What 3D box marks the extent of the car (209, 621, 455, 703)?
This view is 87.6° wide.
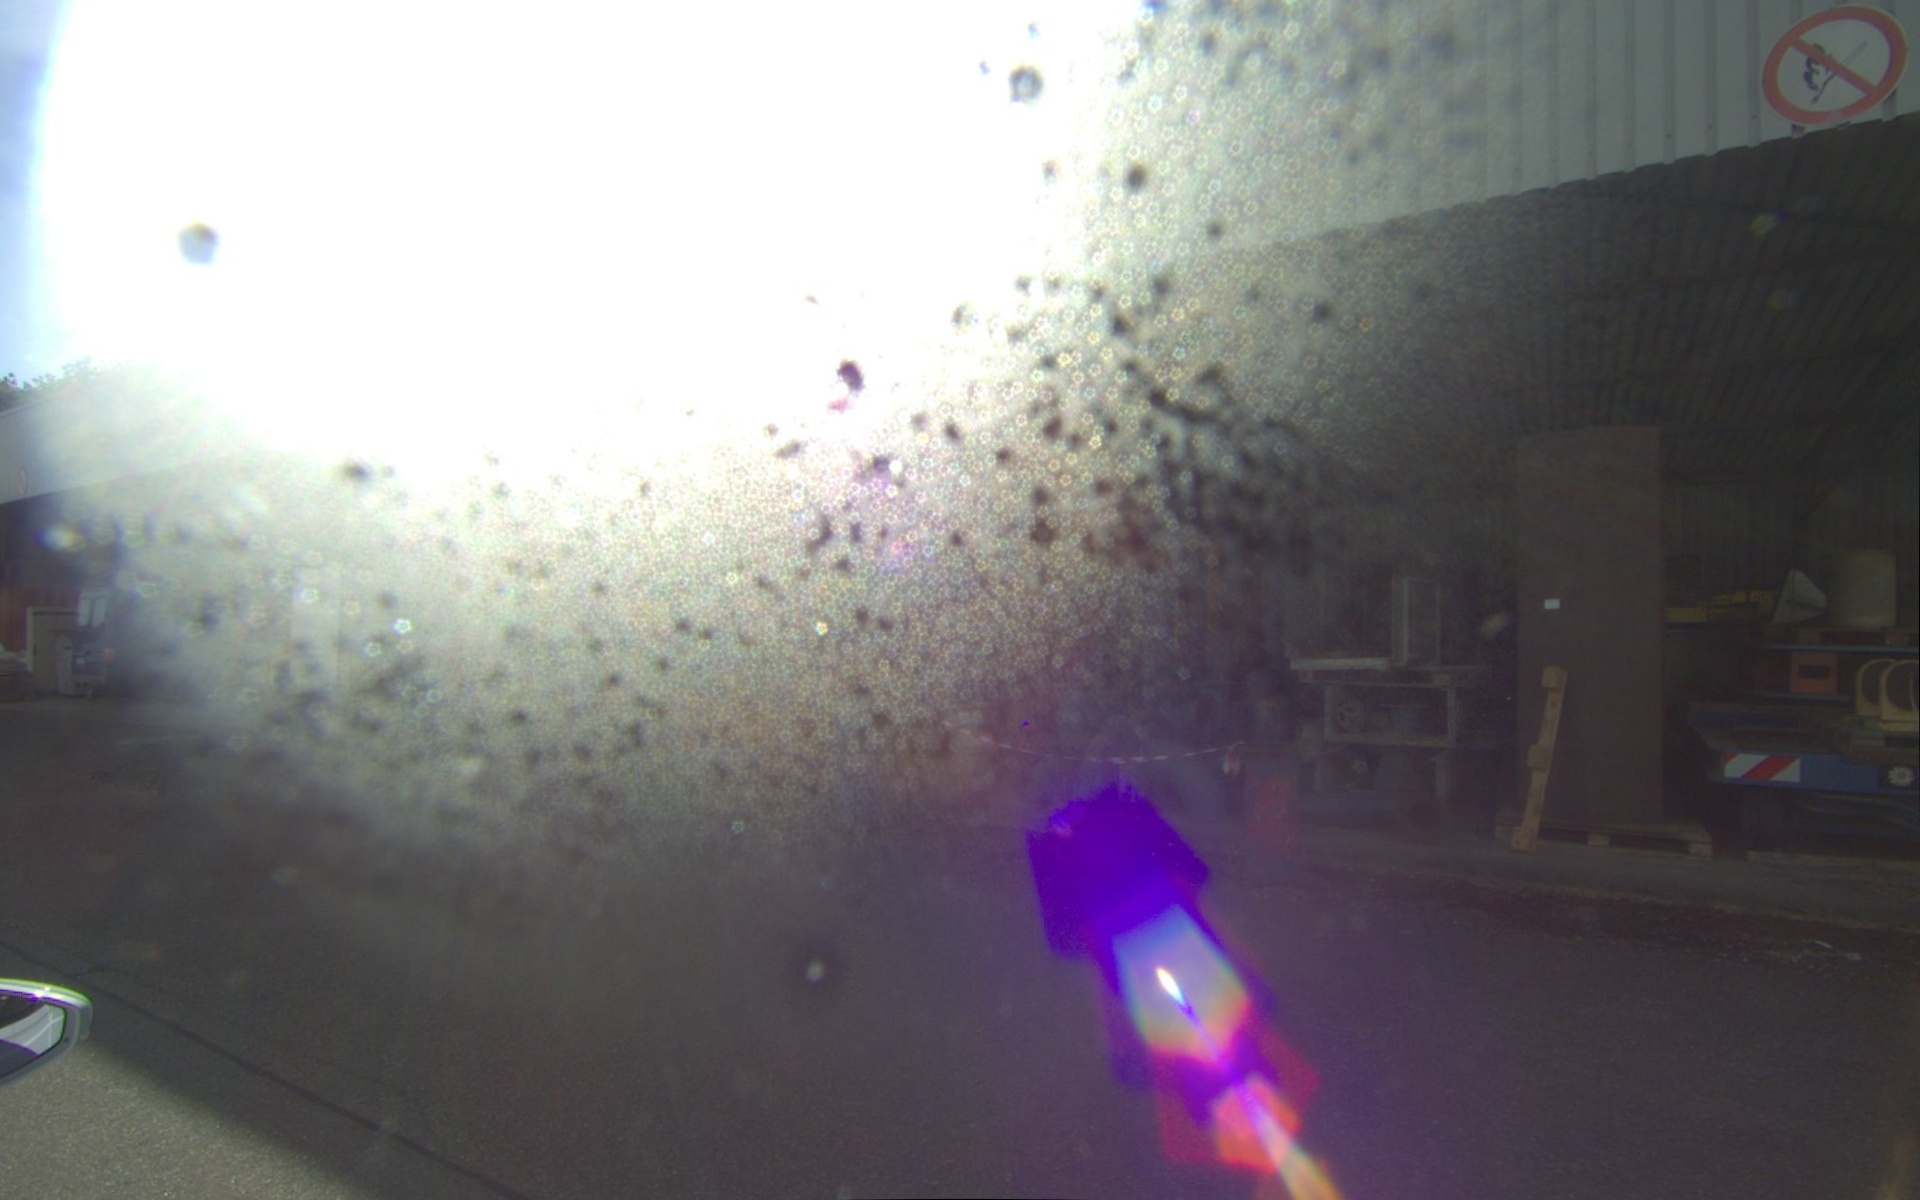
[{"bbox_3d":[-12.905,1.251,20.834,1.812,1.533,3.962,-1,-3,29],"label":"car"}]

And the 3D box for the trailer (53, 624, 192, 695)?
[{"bbox_3d":[-18.656,1.274,22.332,1.715,1.485,2.032,-1,-1,36],"label":"trailer"}]

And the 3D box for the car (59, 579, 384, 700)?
[{"bbox_3d":[-15.888,0.873,21.920,2.121,2.309,5.326,-1,-3,31],"label":"car"}]

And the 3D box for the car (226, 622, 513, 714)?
[{"bbox_3d":[-10.736,1.192,18.557,1.841,1.490,4.246,0,-2,29],"label":"car"}]

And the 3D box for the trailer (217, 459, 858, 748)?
[{"bbox_3d":[-5.947,0.164,16.843,2.761,3.386,10.250,0,-1,32],"label":"trailer"}]

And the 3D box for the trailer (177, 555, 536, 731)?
[{"bbox_3d":[-9.376,0.645,15.963,2.019,2.372,4.507,-1,-2,33],"label":"trailer"}]

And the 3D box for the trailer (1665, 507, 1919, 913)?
[{"bbox_3d":[6.146,0.587,6.719,2.133,2.016,4.414,-1,-2,33],"label":"trailer"}]
